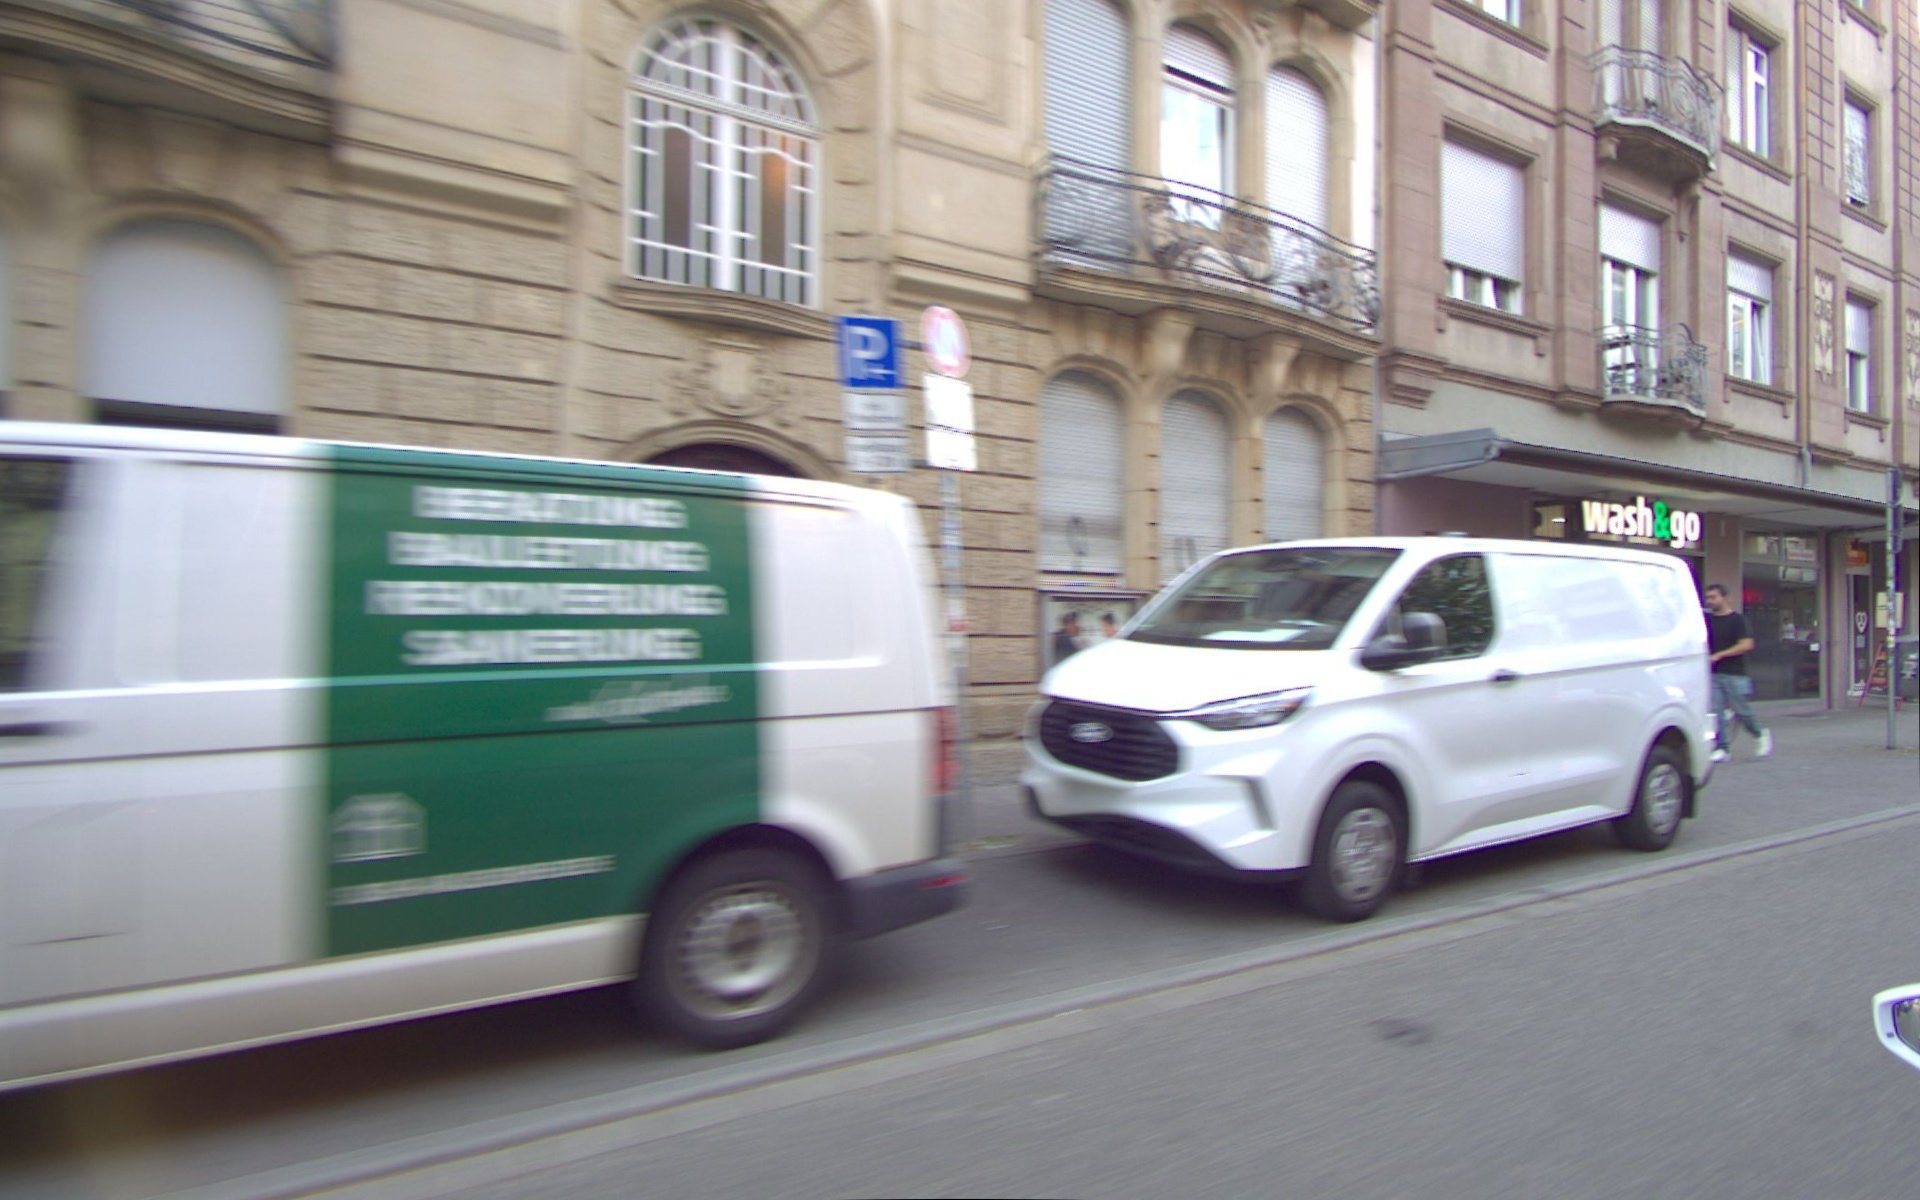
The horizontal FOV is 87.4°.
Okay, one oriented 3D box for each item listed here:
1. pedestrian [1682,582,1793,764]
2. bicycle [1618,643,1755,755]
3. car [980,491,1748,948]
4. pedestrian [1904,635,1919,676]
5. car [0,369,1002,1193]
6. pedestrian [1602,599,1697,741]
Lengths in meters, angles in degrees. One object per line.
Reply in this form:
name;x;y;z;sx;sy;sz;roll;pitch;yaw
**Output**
pedestrian;8.242;0.755;10.651;0.984;1.848;0.534;2;0;-27
bicycle;8.096;1.077;11.180;1.762;1.157;0.470;2;0;-27
car;2.776;0.571;6.501;4.969;1.947;2.098;1;-1;-32
pedestrian;30.245;1.751;31.523;0.660;1.279;0.750;2;0;-30
car;-2.365;0.447;3.372;4.787;1.947;1.829;1;-1;-30
pedestrian;8.619;0.845;12.560;0.726;1.700;0.706;1;0;-27
